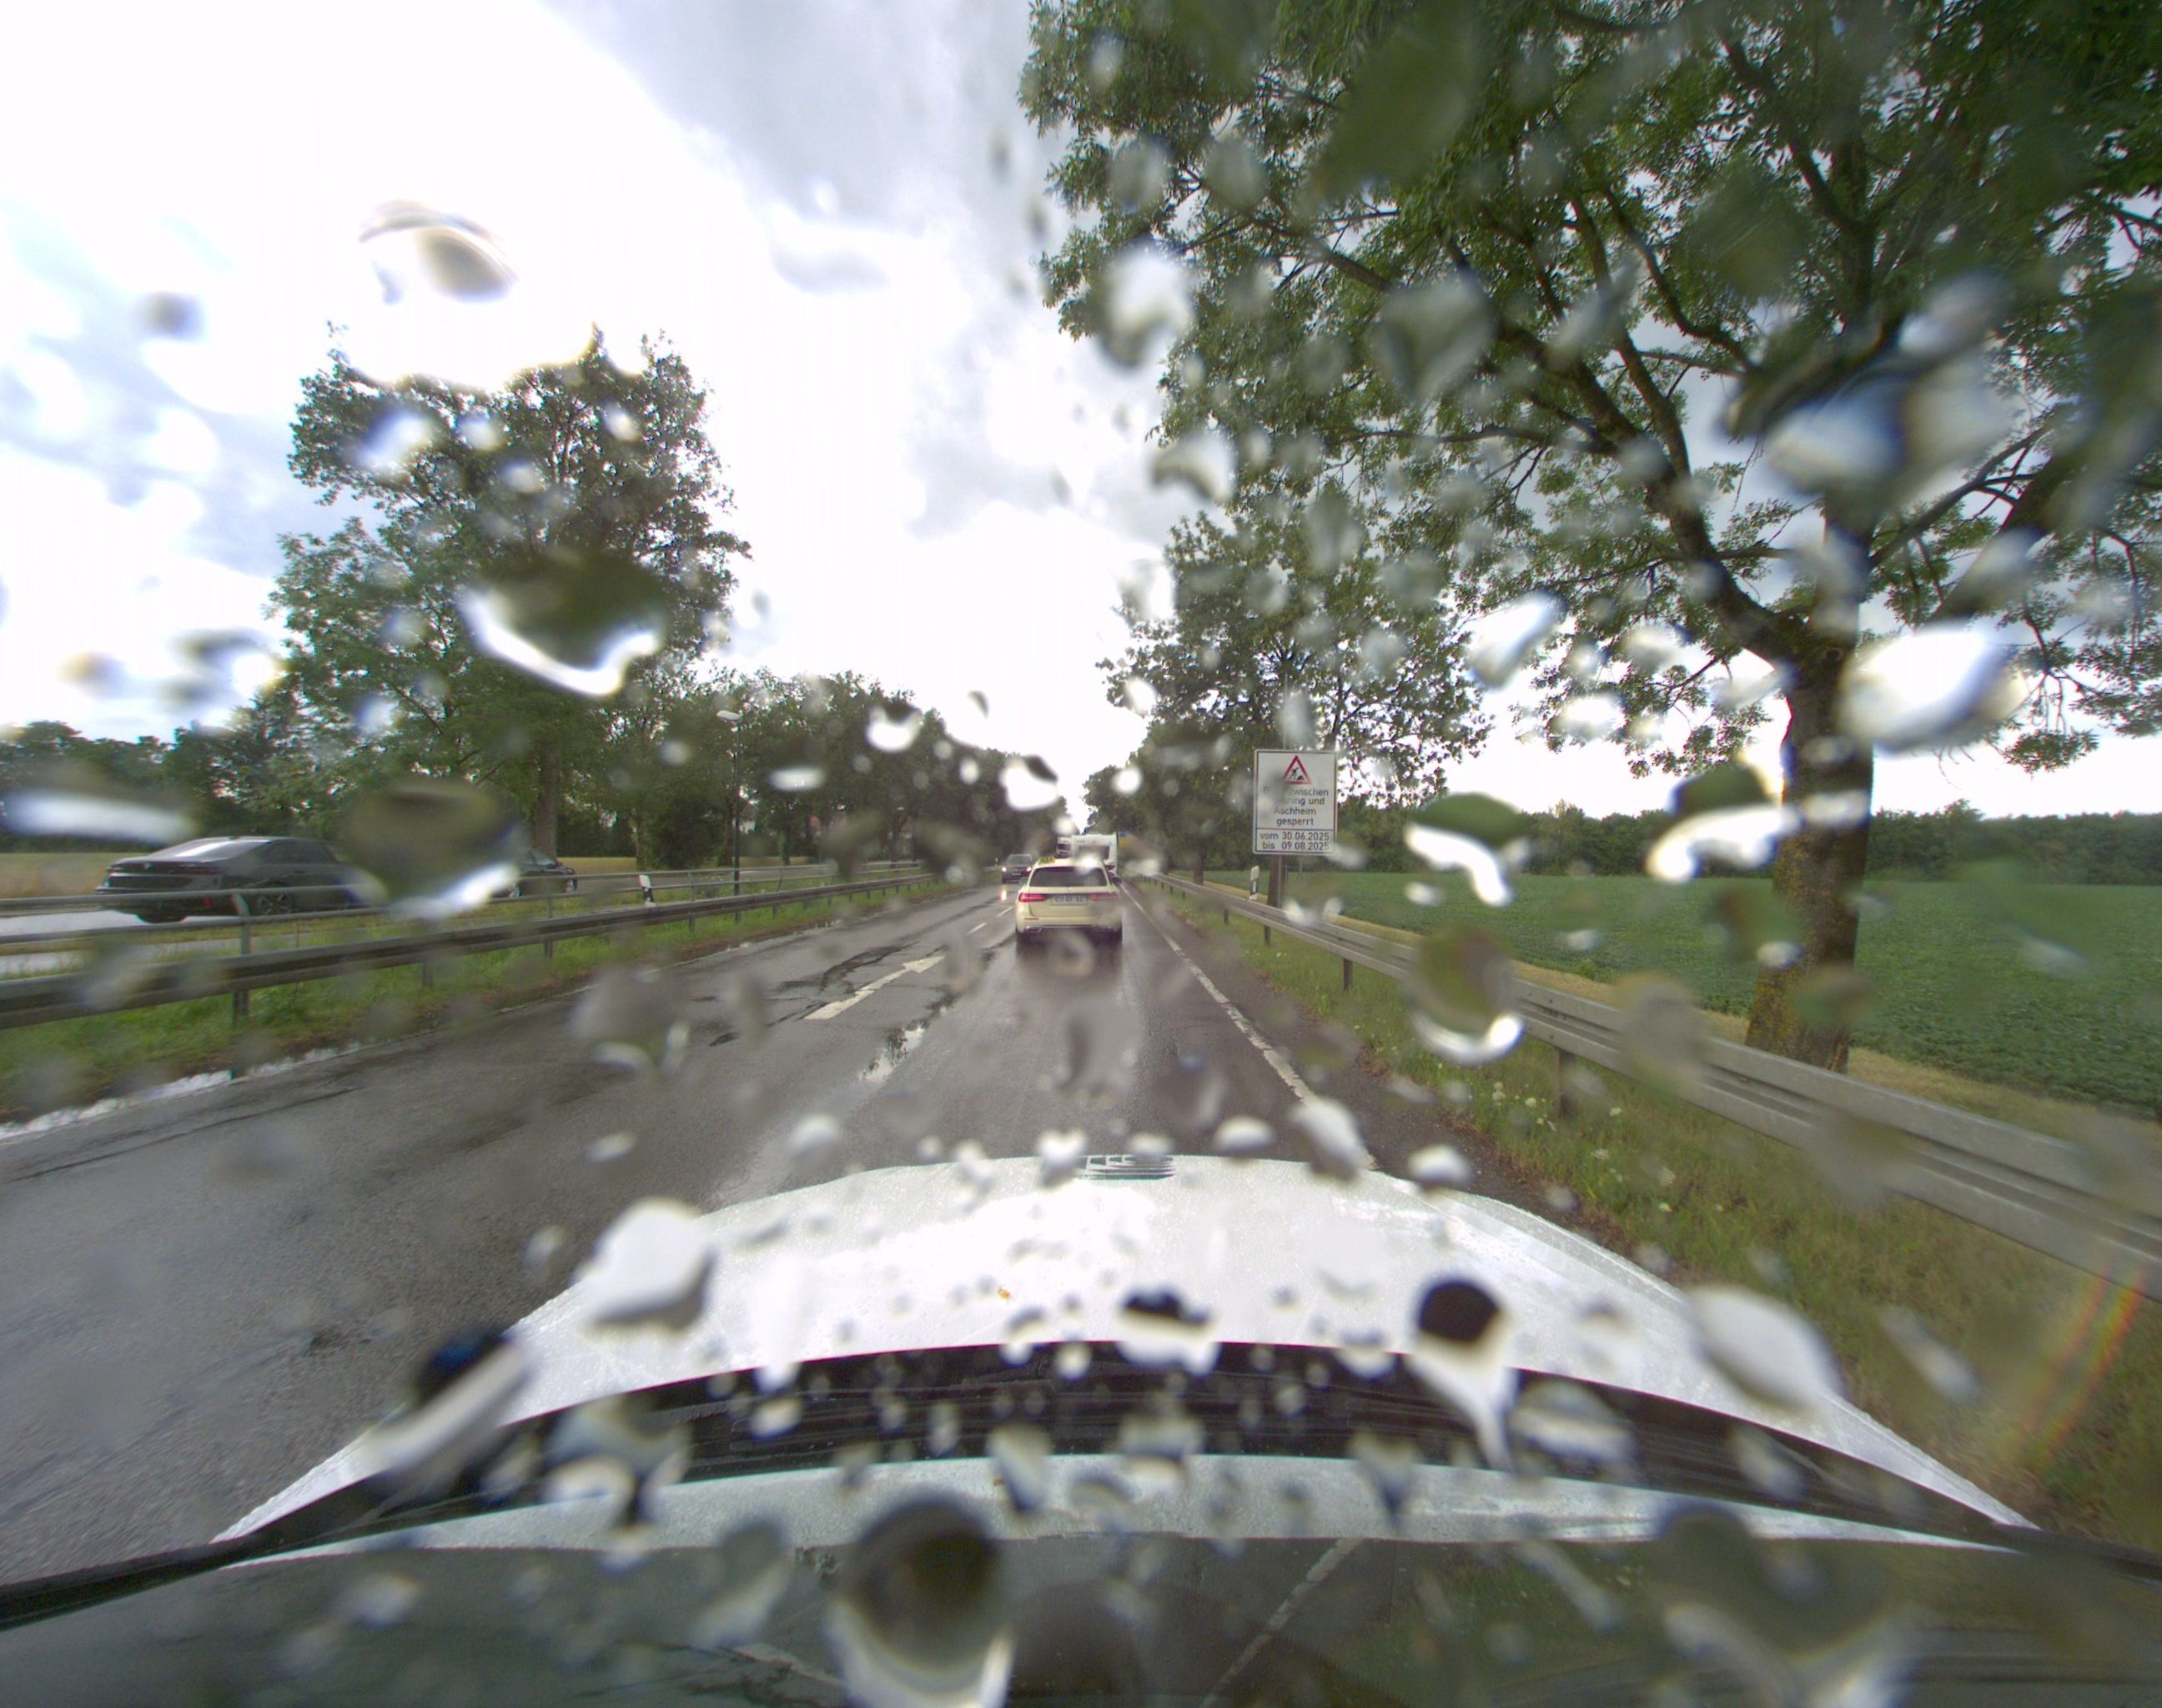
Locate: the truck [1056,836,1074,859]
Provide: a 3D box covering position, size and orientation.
[{"bbox_3d":[-2.425,-0.991,126.261,2.568,3.452,9.554,-1,0,0],"label":"truck"}]

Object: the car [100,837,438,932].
[{"bbox_3d":[-14.982,0.480,15.566,1.512,1.491,5.116,1,0,-3],"label":"car"}]

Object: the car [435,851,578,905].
[{"bbox_3d":[-15.405,0.580,22.076,1.280,1.331,3.894,0,0,-3],"label":"car"}]

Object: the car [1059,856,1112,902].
[{"bbox_3d":[0.230,0.810,27.920,1.657,1.430,4.002,-1,0,2],"label":"car"}]

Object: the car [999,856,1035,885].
[{"bbox_3d":[-3.712,0.927,47.917,1.758,1.619,4.000,-1,0,0],"label":"car"}]

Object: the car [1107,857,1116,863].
[{"bbox_3d":[5.542,1.034,148.151,1.546,1.118,4.002,0,-1,2],"label":"car"}]

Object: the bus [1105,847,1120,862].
[{"bbox_3d":[4.608,0.066,118.593,1.987,2.013,4.000,-1,0,1],"label":"bus"}]

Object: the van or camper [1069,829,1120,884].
[{"bbox_3d":[0.755,0.120,42.718,2.480,2.685,5.703,0,0,2],"label":"van or camper"}]

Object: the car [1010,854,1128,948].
[{"bbox_3d":[-0.119,0.751,14.963,1.857,1.476,4.002,-1,0,2],"label":"car"}]
